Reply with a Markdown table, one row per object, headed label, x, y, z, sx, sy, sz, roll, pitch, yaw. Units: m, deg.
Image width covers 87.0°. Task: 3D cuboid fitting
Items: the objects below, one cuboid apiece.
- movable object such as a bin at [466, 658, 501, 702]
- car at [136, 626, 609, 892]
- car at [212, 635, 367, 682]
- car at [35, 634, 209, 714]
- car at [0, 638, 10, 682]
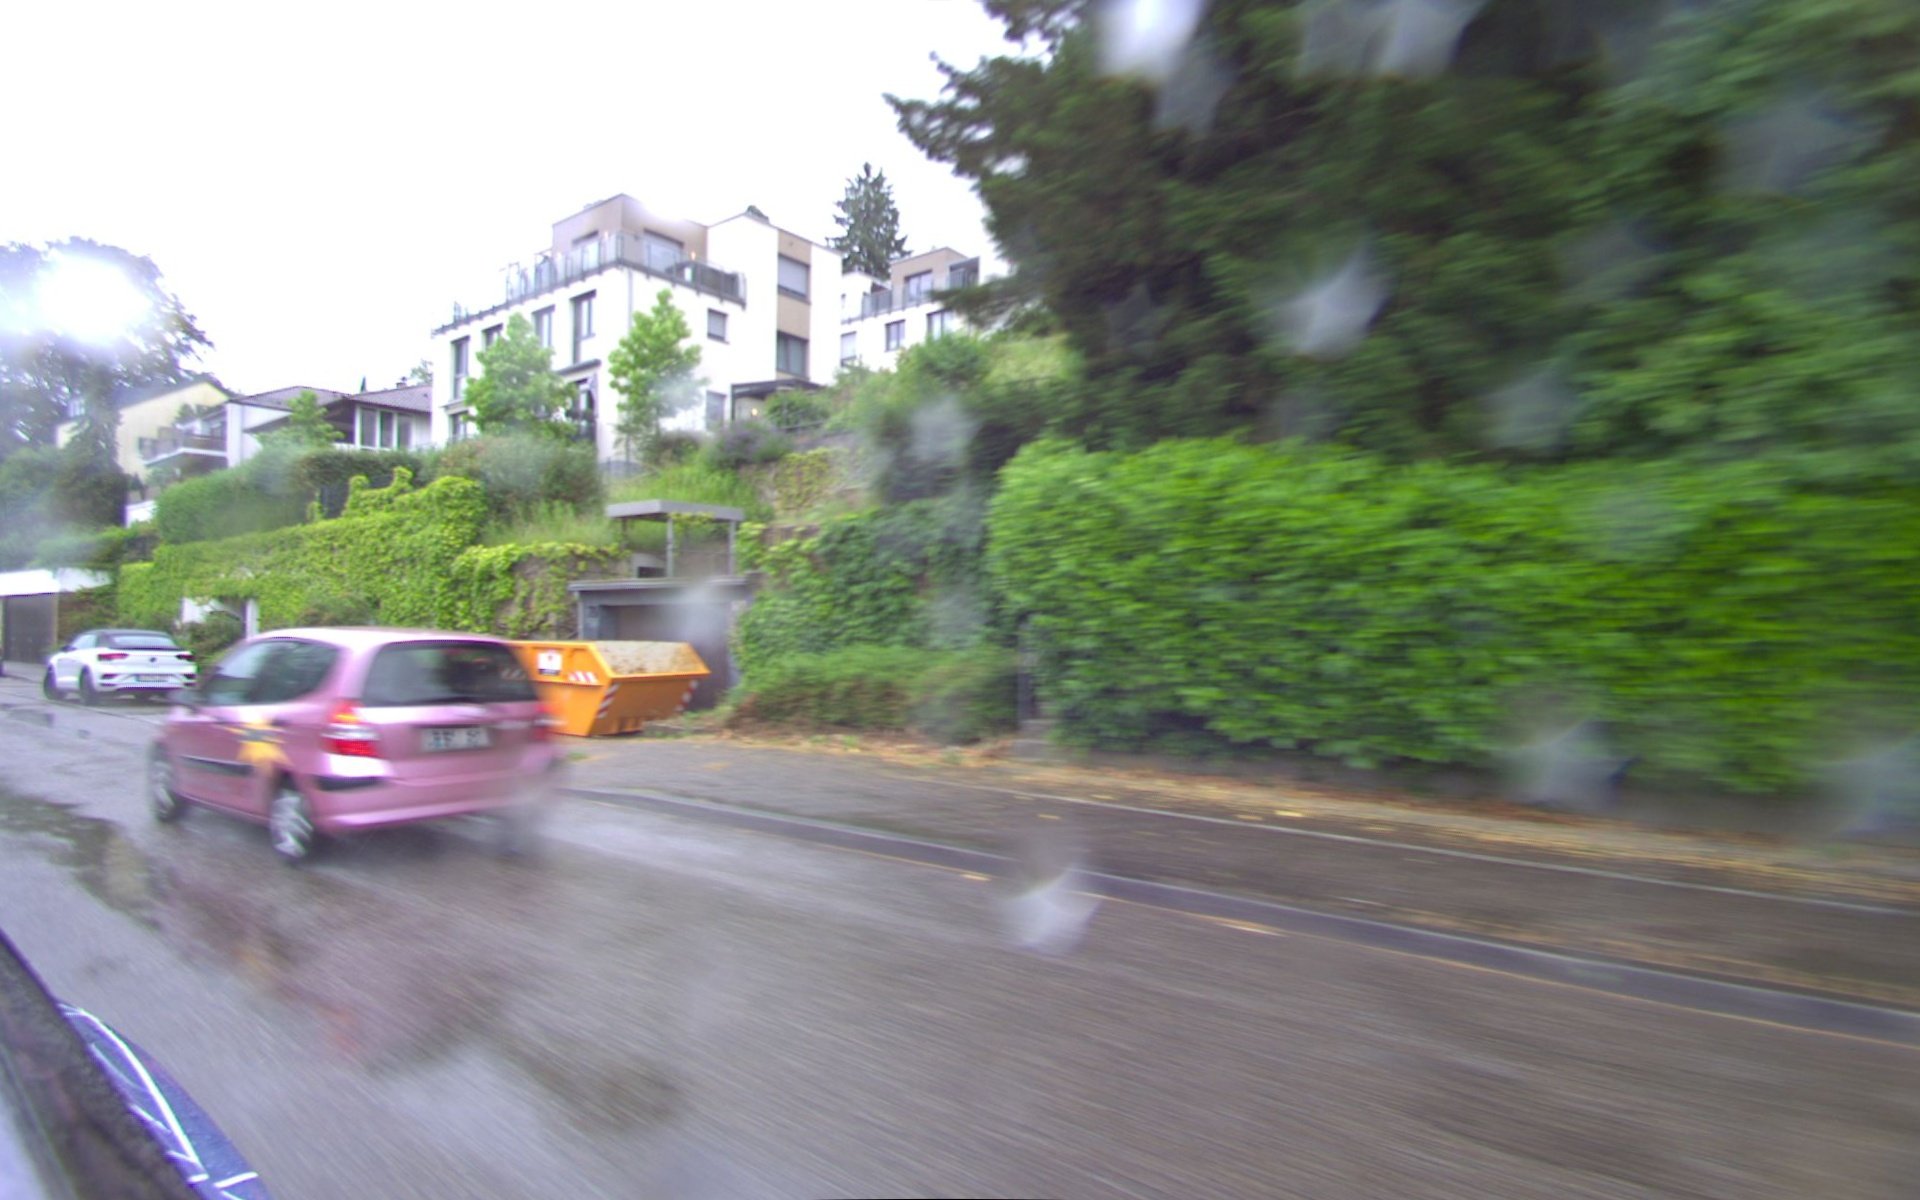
| label | x | y | z | sx | sy | sz | roll | pitch | yaw |
| --- | --- | --- | --- | --- | --- | --- | --- | --- | --- |
| movable object such as a bin | -9.585 | 1.602 | 20.355 | 0.548 | 0.826 | 0.394 | 2 | 0 | 37 |
| car | -4.375 | 0.932 | 7.385 | 3.654 | 1.472 | 1.647 | -1 | -2 | 36 |
| car | -21.327 | 1.837 | 32.293 | 1.864 | 1.394 | 3.720 | -2 | -3 | 39 |
| car | -17.583 | 1.491 | 21.190 | 4.211 | 1.509 | 1.740 | -1 | -3 | 36 |
| car | -32.645 | 1.906 | 32.915 | 3.761 | 1.413 | 1.741 | -2 | -5 | 35 |
